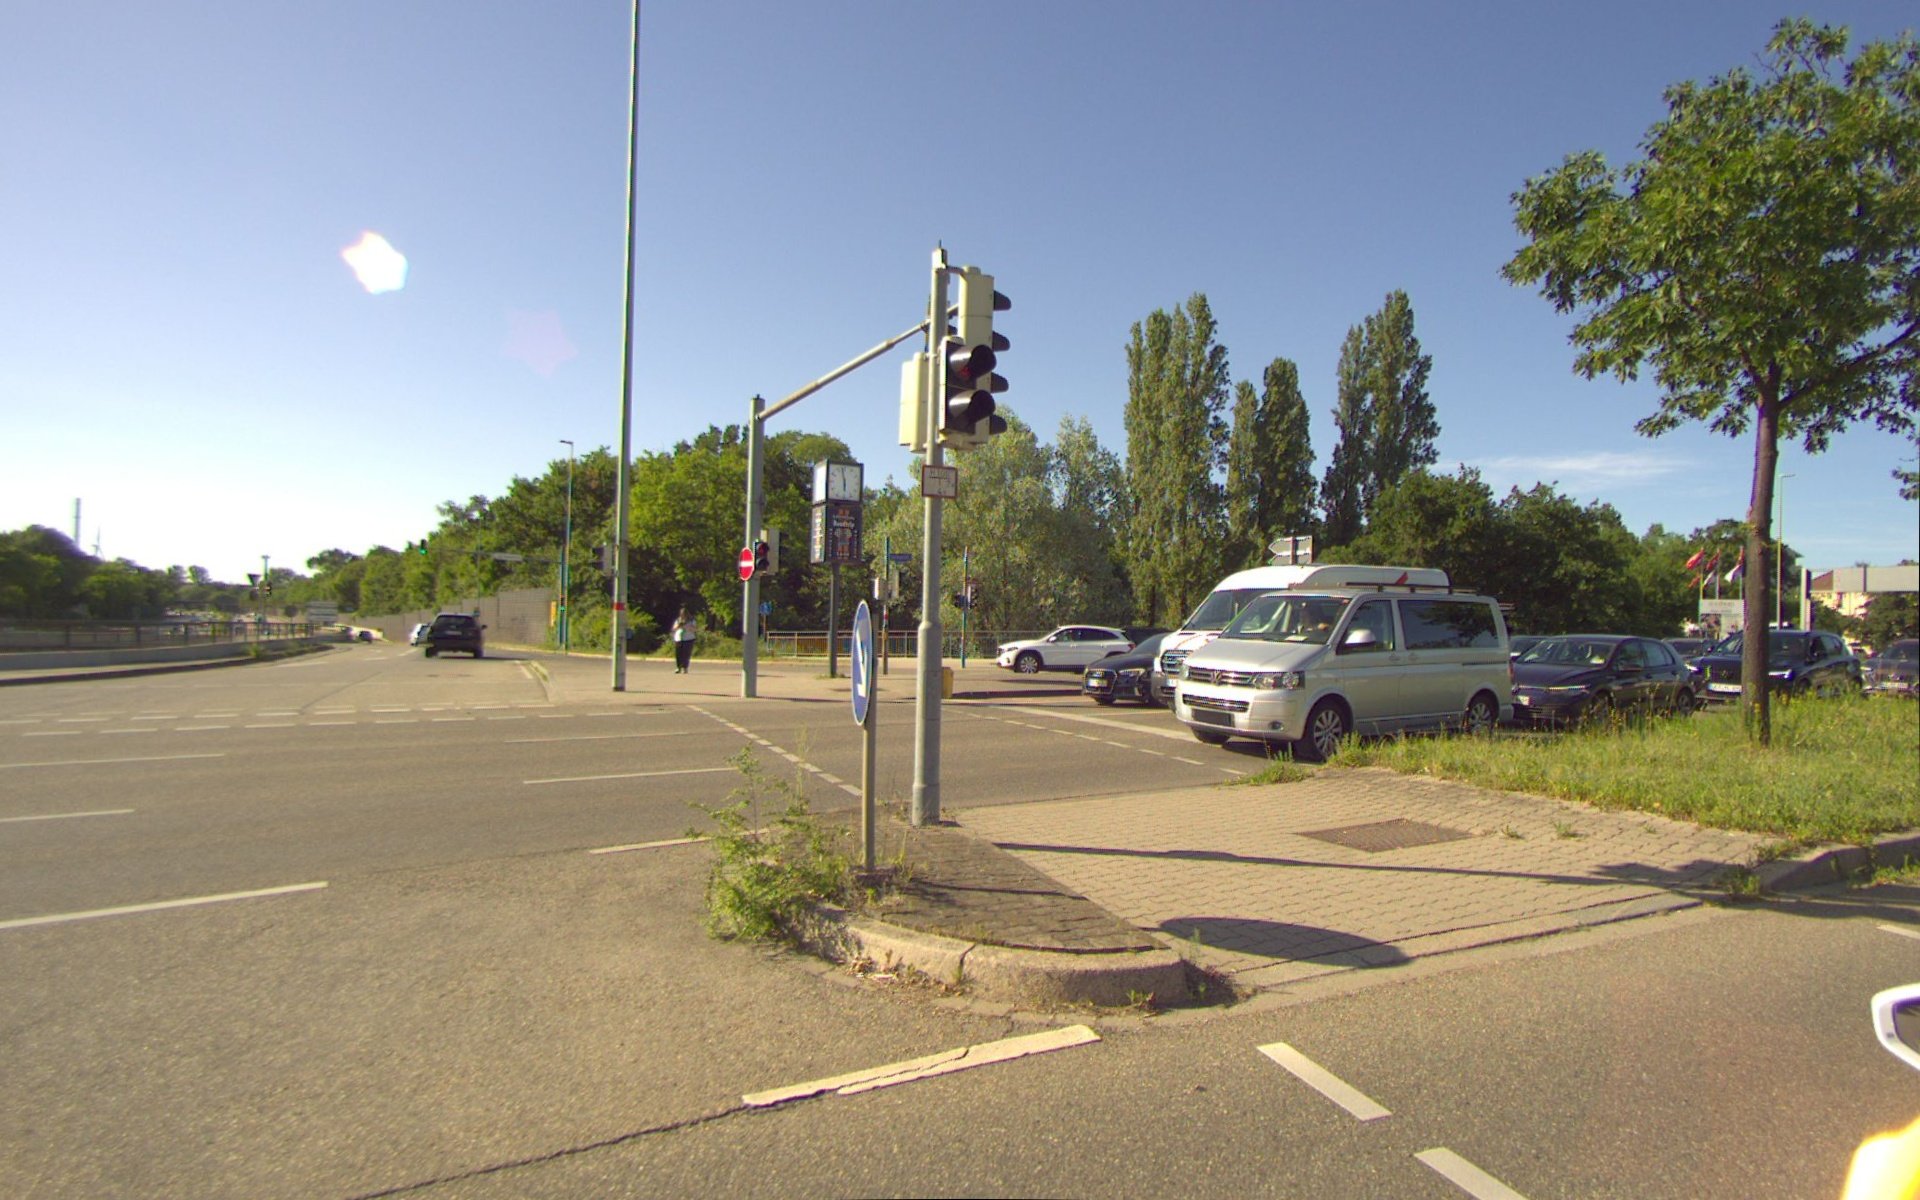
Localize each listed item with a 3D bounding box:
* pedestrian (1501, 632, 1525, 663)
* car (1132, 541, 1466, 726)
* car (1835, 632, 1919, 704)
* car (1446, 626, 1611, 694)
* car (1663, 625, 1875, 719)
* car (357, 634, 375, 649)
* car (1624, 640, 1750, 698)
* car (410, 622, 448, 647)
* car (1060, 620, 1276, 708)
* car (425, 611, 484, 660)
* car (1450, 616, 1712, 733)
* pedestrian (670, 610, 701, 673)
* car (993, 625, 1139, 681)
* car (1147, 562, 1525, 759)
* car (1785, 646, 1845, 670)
[{"bbox_3d":[28.104,2.400,51.047,0.766,1.522,0.671,4,-1,-13],"label":"pedestrian"},{"bbox_3d":[5.753,0.560,16.618,6.024,2.610,1.925,2,-1,-33],"label":"car"},{"bbox_3d":[23.844,1.666,24.992,4.456,1.644,1.926,2,-1,-32],"label":"car"},{"bbox_3d":[15.091,1.561,26.597,4.456,1.644,1.926,2,-1,-32],"label":"car"},{"bbox_3d":[16.005,1.356,19.822,4.456,1.644,1.926,2,-1,-32],"label":"car"},{"bbox_3d":[-75.418,5.262,127.526,1.903,1.666,4.473,2,-1,-30],"label":"car"},{"bbox_3d":[22.555,2.113,31.159,3.698,1.644,1.926,2,-1,-32],"label":"car"},{"bbox_3d":[-34.409,2.206,65.038,1.977,1.528,3.967,2,-1,-31],"label":"car"},{"bbox_3d":[4.032,1.185,19.260,3.962,1.527,1.924,2,-3,-36],"label":"car"},{"bbox_3d":[-19.078,1.312,37.962,1.856,1.731,4.168,2,-1,-27],"label":"car"},{"bbox_3d":[10.110,1.129,16.258,4.458,1.644,1.925,2,-1,-33],"label":"car"},{"bbox_3d":[-6.872,1.034,25.175,0.700,1.568,0.726,1,-1,-15],"label":"pedestrian"},{"bbox_3d":[3.223,1.604,31.062,4.246,1.556,1.784,1,0,-4],"label":"car"},{"bbox_3d":[4.795,0.698,12.541,4.879,2.034,1.925,2,-1,-33],"label":"car"},{"bbox_3d":[79.783,5.377,93.805,4.185,2.040,1.991,0,-2,39],"label":"car"}]
